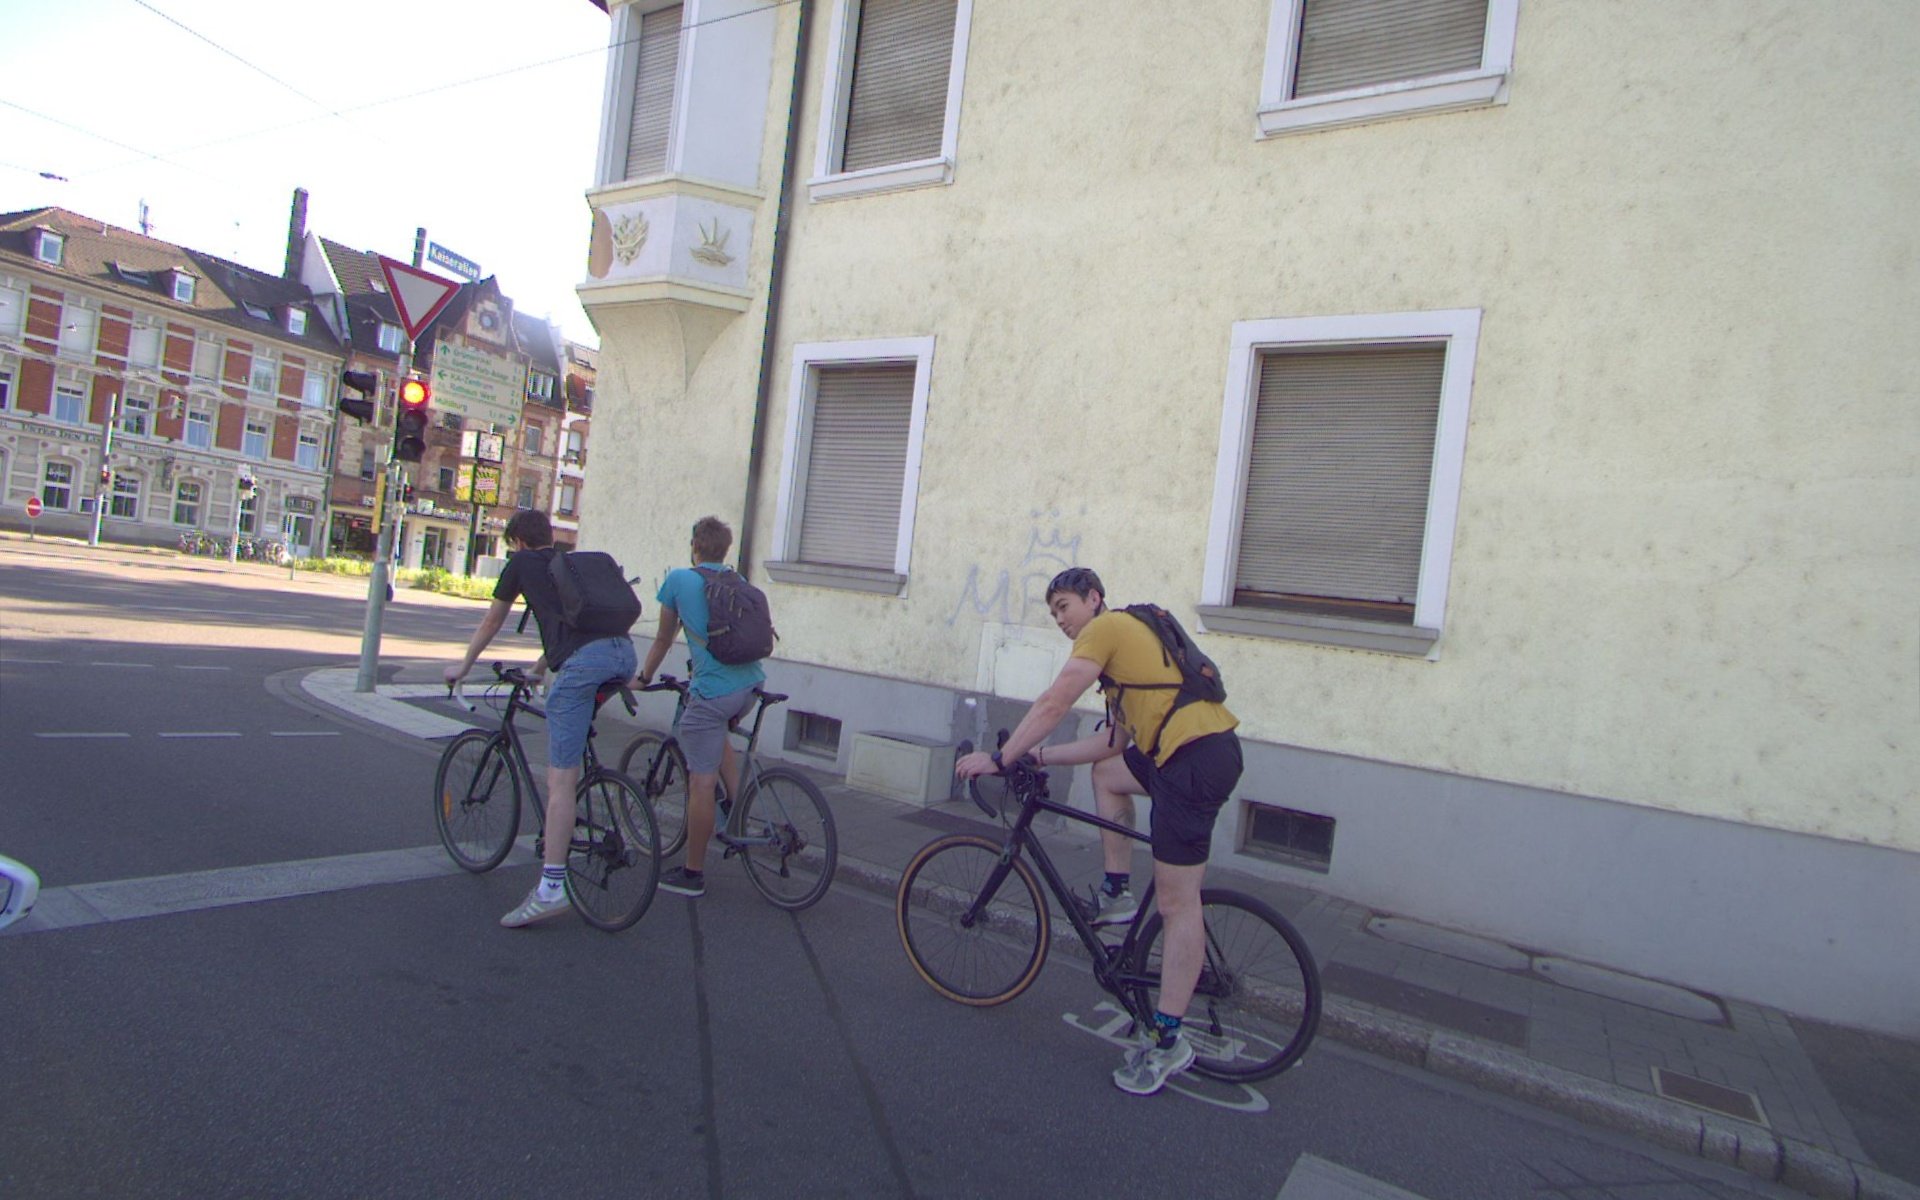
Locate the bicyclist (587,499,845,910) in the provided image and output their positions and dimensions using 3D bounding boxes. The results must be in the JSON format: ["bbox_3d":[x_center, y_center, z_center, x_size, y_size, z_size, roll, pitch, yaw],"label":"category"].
[{"bbox_3d":[-1.276,0.495,5.253,0.961,1.917,0.602,6,-1,34],"label":"bicyclist"}]

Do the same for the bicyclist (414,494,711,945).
[{"bbox_3d":[-1.809,0.468,4.552,1.083,1.775,0.562,7,0,34],"label":"bicyclist"}]

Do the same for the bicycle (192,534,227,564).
[{"bbox_3d":[-34.548,-2.358,46.288,2.140,1.157,0.618,7,0,37],"label":"bicycle"}]

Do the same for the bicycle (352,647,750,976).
[{"bbox_3d":[-1.920,0.850,4.598,1.897,1.023,0.645,7,0,34],"label":"bicycle"}]

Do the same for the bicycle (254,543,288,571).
[{"bbox_3d":[-33.115,-2.070,48.321,2.102,1.150,0.609,7,0,37],"label":"bicycle"}]

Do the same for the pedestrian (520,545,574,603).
[{"bbox_3d":[-16.568,-1.042,40.384,1.285,2.068,1.321,7,0,31],"label":"pedestrian"}]

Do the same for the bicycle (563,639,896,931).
[{"bbox_3d":[-1.260,0.881,5.288,1.784,1.130,0.519,7,0,34],"label":"bicycle"}]

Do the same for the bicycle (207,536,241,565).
[{"bbox_3d":[-34.213,-2.310,46.765,2.140,1.157,0.618,7,0,37],"label":"bicycle"}]

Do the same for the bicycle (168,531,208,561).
[{"bbox_3d":[-35.062,-2.448,45.685,2.140,1.157,0.806,7,0,37],"label":"bicycle"}]

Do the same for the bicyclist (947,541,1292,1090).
[{"bbox_3d":[0.599,0.714,3.781,0.939,1.742,0.582,7,0,32],"label":"bicyclist"}]

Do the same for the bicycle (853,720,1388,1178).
[{"bbox_3d":[0.546,1.142,3.773,1.780,1.101,0.611,7,0,32],"label":"bicycle"}]

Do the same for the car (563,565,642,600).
[{"bbox_3d":[-23.172,-1.127,65.327,2.116,1.660,4.340,7,-1,31],"label":"car"}]

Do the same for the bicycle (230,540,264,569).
[{"bbox_3d":[-33.680,-2.163,47.517,2.140,1.157,0.618,7,0,37],"label":"bicycle"}]
